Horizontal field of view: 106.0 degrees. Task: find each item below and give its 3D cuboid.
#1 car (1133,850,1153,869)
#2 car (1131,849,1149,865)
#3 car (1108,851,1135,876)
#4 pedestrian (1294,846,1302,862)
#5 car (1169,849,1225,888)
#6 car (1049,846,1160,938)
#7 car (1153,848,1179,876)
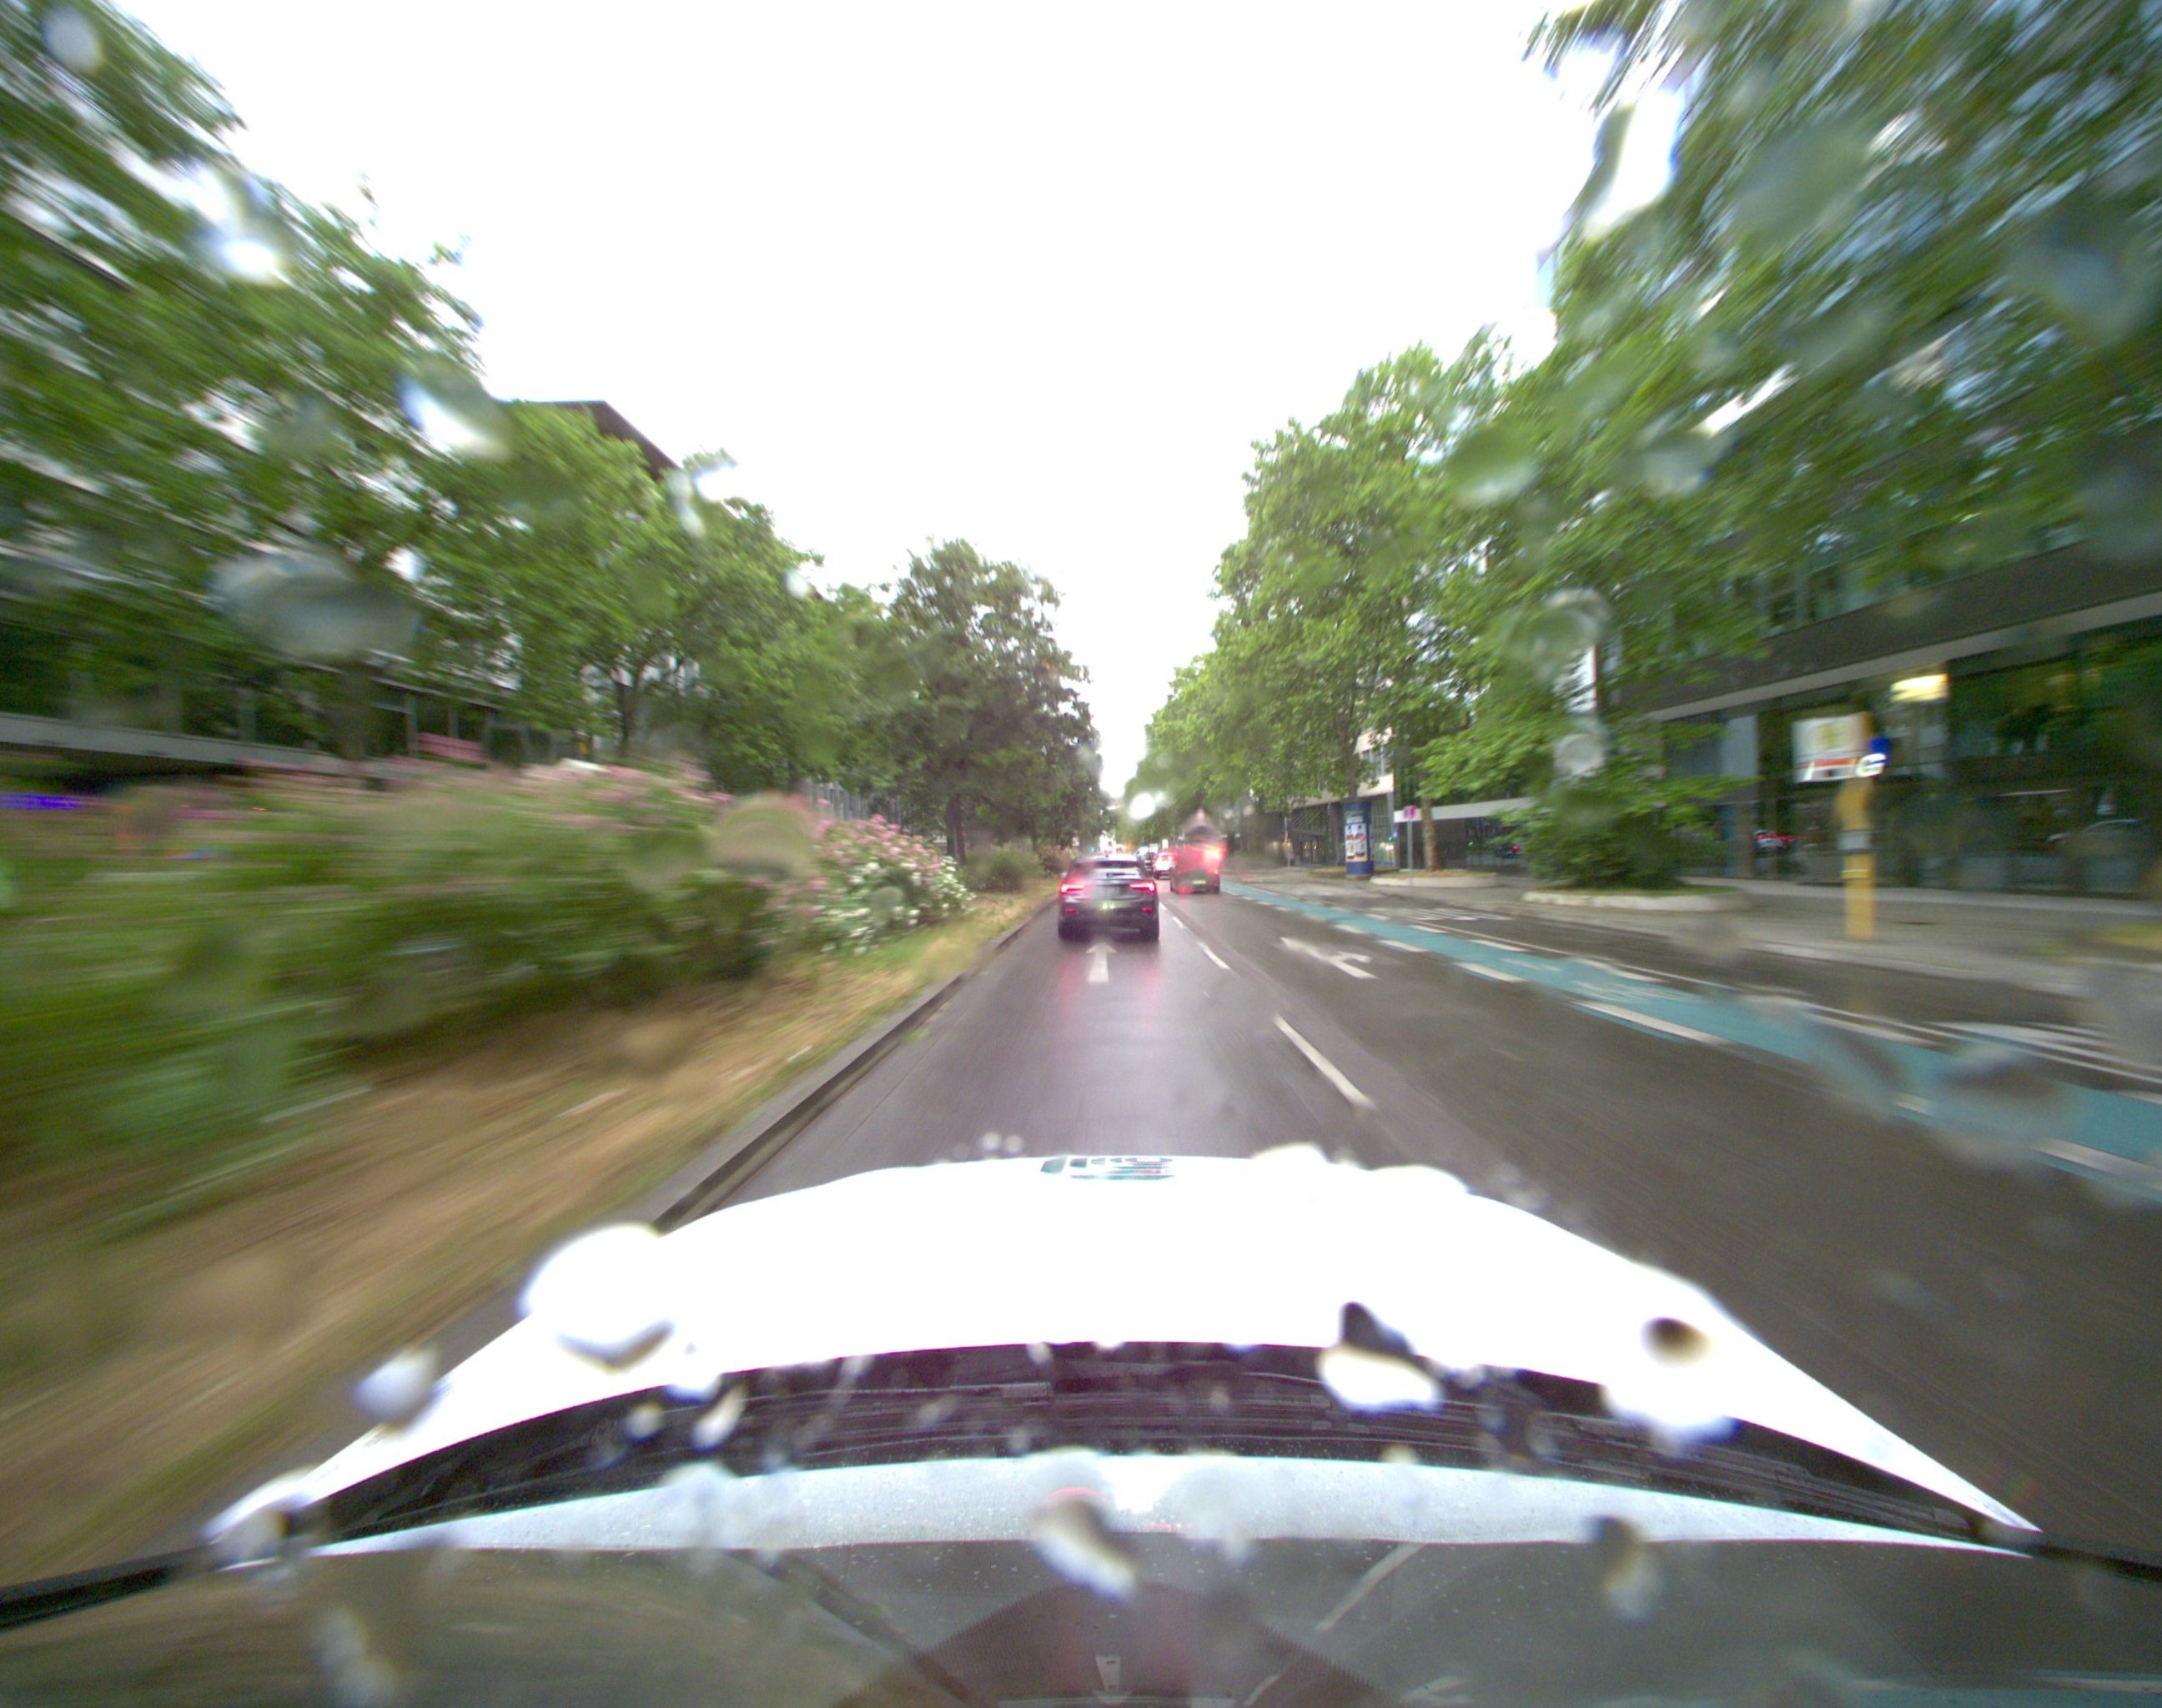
[{"bbox_3d":[6.079,0.543,80.391,1.815,1.750,4.003,-2,0,2],"label":"car"},{"bbox_3d":[6.997,0.327,96.485,1.986,1.750,4.003,-2,0,2],"label":"car"},{"bbox_3d":[2.674,0.604,54.939,1.715,1.577,3.963,-1,0,2],"label":"car"},{"bbox_3d":[24.393,0.016,91.605,0.648,1.815,0.656,-1,0,1],"label":"pedestrian"},{"bbox_3d":[4.636,0.535,33.019,1.758,1.413,4.002,-2,0,2],"label":"car"},{"bbox_3d":[0.541,0.640,16.135,1.855,1.532,4.531,-1,0,3],"label":"car"},{"bbox_3d":[5.347,0.477,51.390,1.427,1.685,2.981,-2,0,2],"label":"car"}]
